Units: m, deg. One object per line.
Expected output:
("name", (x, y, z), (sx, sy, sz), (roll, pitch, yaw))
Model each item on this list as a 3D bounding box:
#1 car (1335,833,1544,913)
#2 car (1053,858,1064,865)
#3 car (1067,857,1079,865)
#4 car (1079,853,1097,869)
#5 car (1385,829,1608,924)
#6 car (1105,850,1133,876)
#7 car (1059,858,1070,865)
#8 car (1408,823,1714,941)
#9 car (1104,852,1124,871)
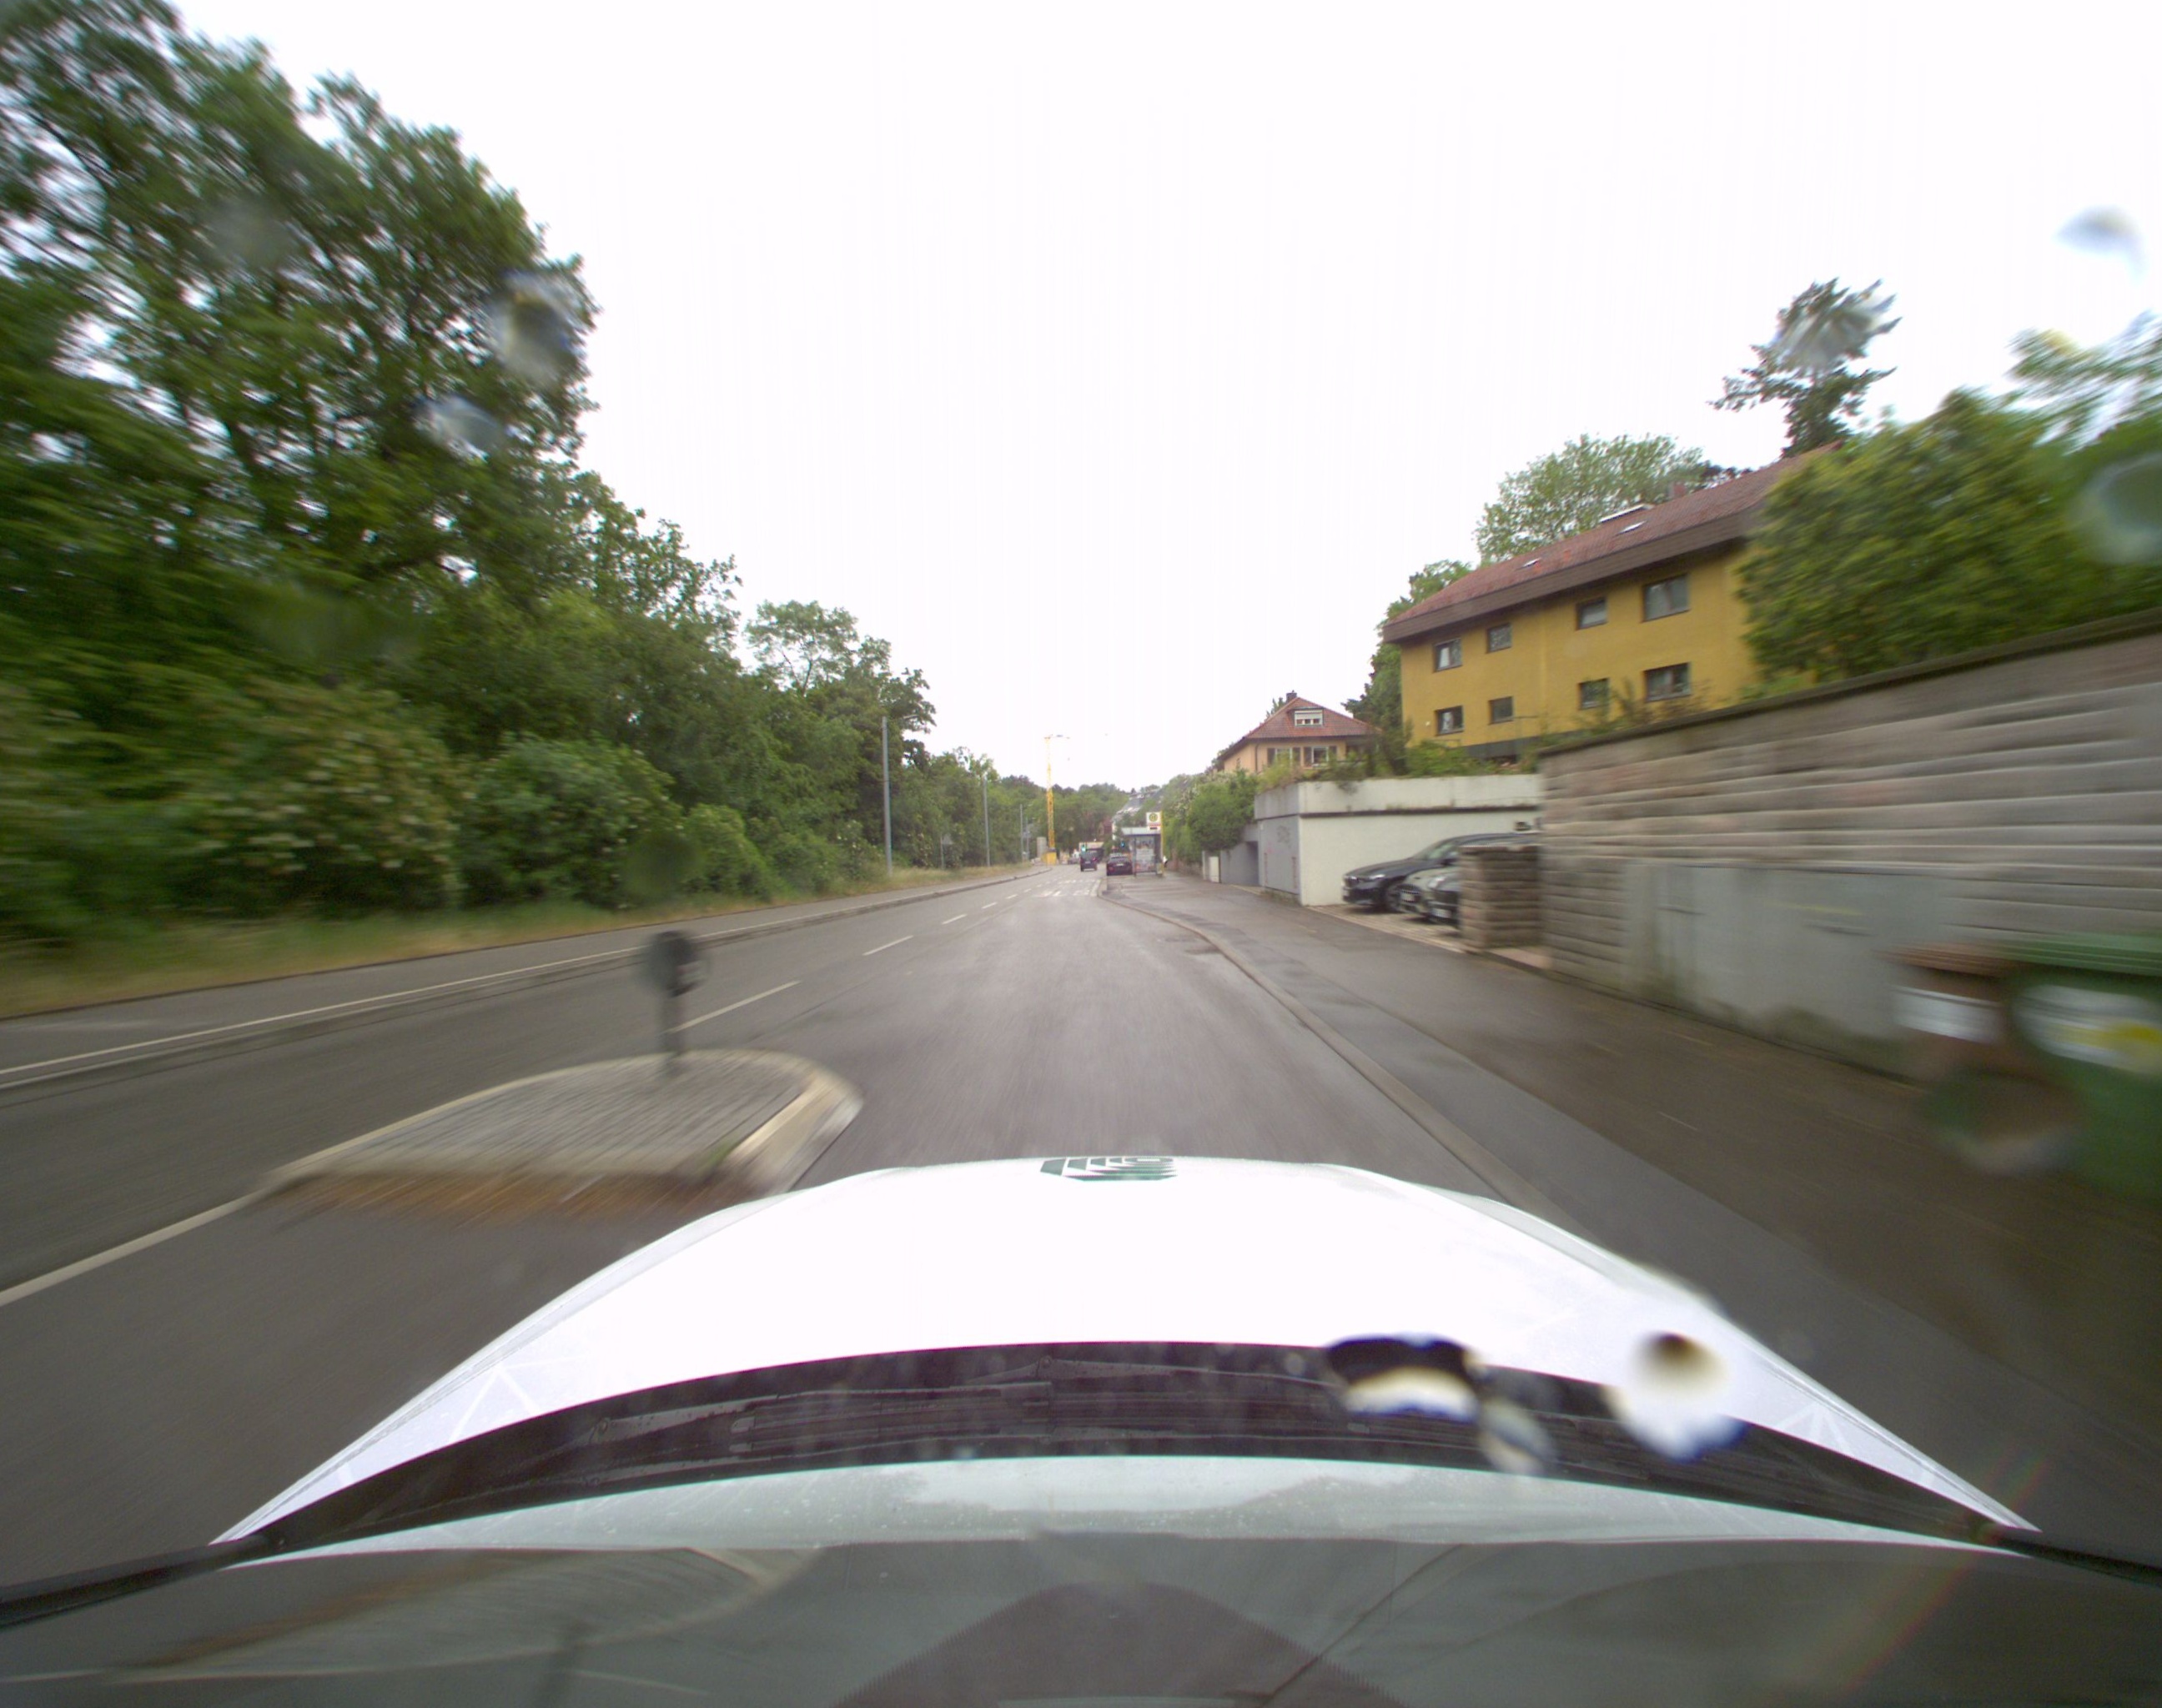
("car", (7.548, 0.391, 17.382), (3.756, 1.552, 1.609), (-1, 0, 0))
("car", (-4.923, 1.569, 176.024), (1.741, 1.552, 3.840), (-1, 0, -11))
("car", (-1.591, 1.443, 164.381), (1.741, 1.552, 3.840), (-1, 0, -11))
("car", (0.745, 0.710, 84.941), (1.661, 1.594, 3.685), (-1, 0, 3))
("car", (7.576, 0.389, 15.049), (3.273, 1.480, 1.576), (-3, 1, 1))
("car", (2.759, 0.641, 59.169), (1.985, 1.772, 4.117), (-1, 0, 2))
("car", (-3.468, 1.582, 170.570), (1.741, 1.552, 3.840), (1, -1, -11))
("car", (7.245, 0.410, 12.579), (3.717, 1.629, 1.700), (-1, 0, 0))
("car", (3.367, 0.742, 82.733), (1.985, 1.772, 4.117), (-1, 0, 2))
